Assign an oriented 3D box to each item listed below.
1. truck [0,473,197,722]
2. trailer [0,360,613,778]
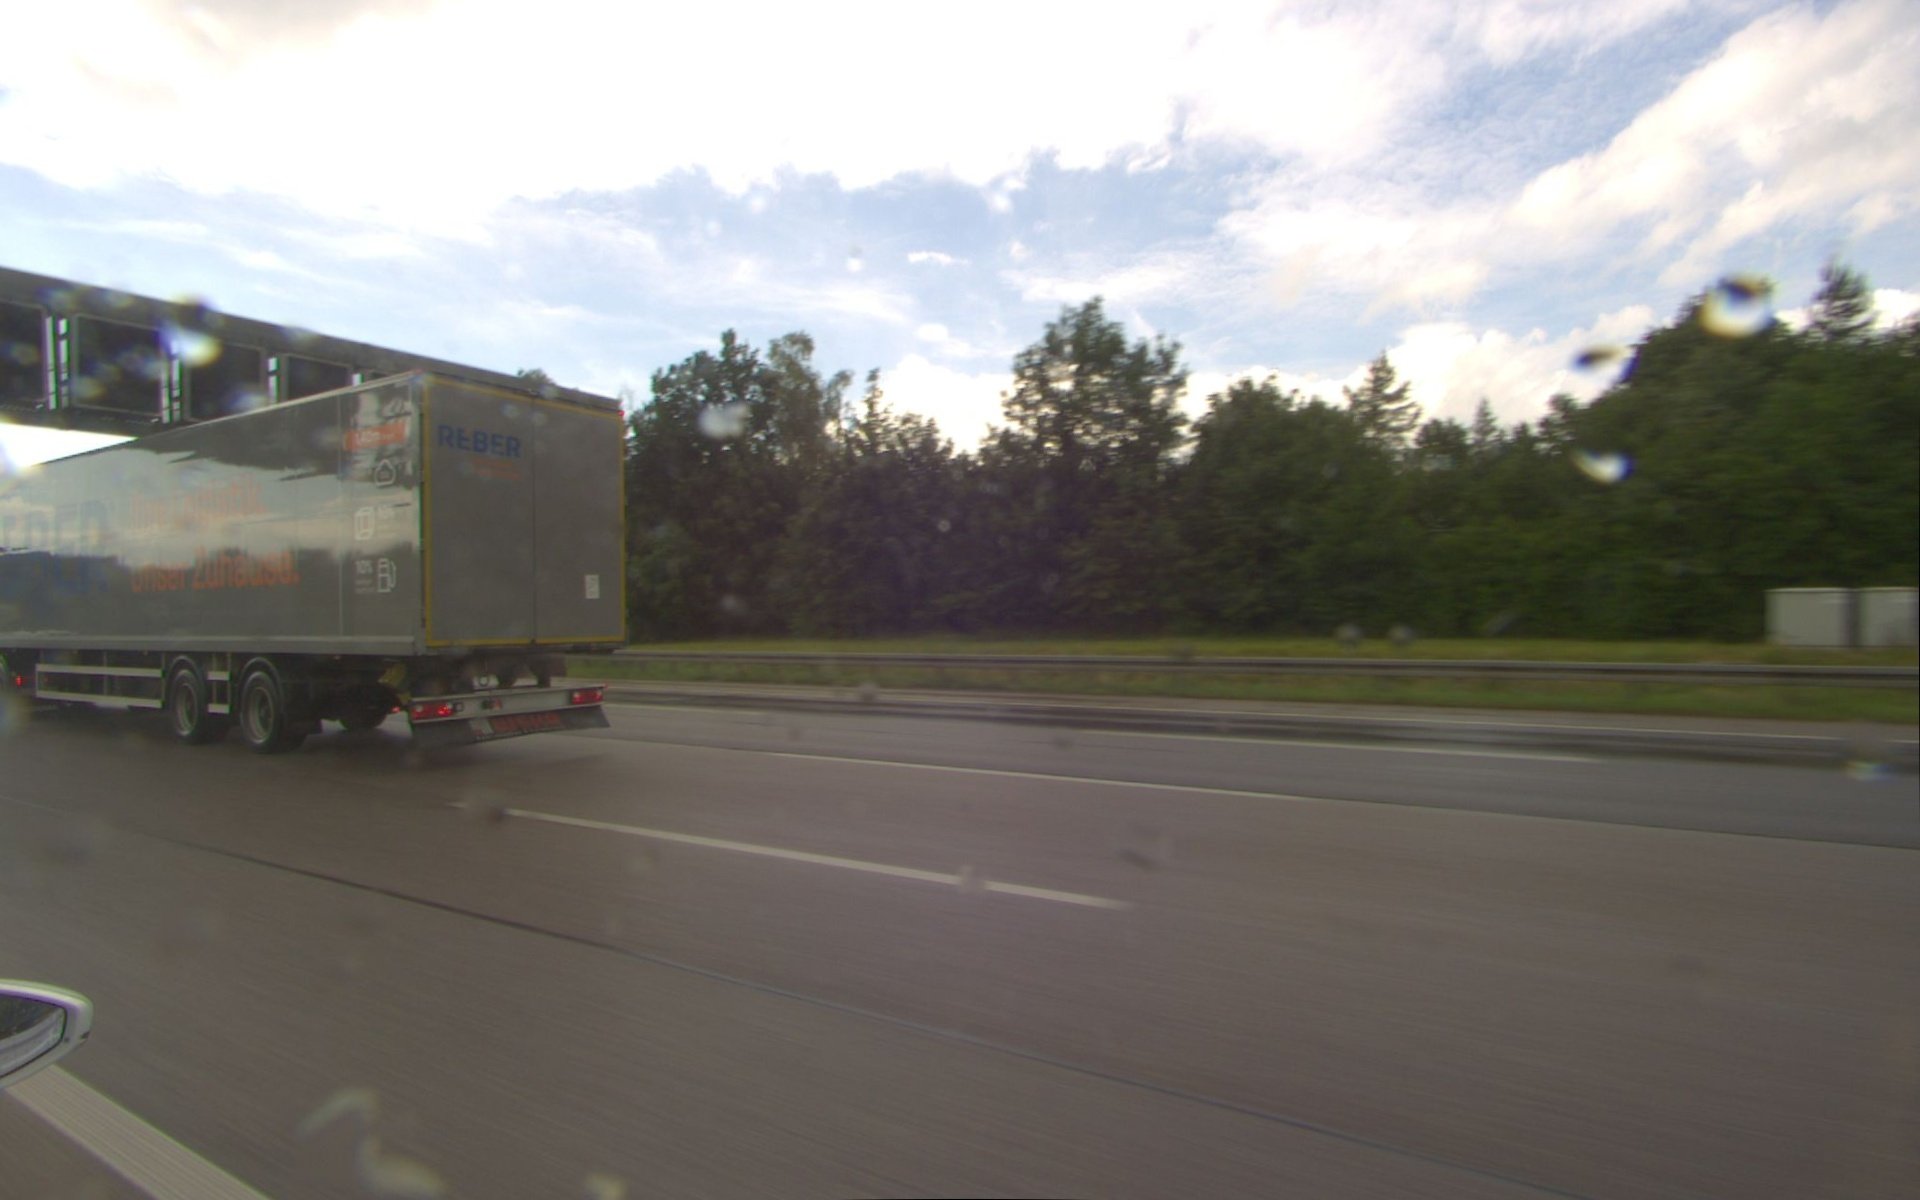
[{"bbox_3d":[-16.344,0.011,18.172,5.315,3.918,2.289,-1,-1,33],"label":"truck"},{"bbox_3d":[-10.229,-0.182,14.265,13.221,4.053,2.319,-1,-1,33],"label":"trailer"}]
